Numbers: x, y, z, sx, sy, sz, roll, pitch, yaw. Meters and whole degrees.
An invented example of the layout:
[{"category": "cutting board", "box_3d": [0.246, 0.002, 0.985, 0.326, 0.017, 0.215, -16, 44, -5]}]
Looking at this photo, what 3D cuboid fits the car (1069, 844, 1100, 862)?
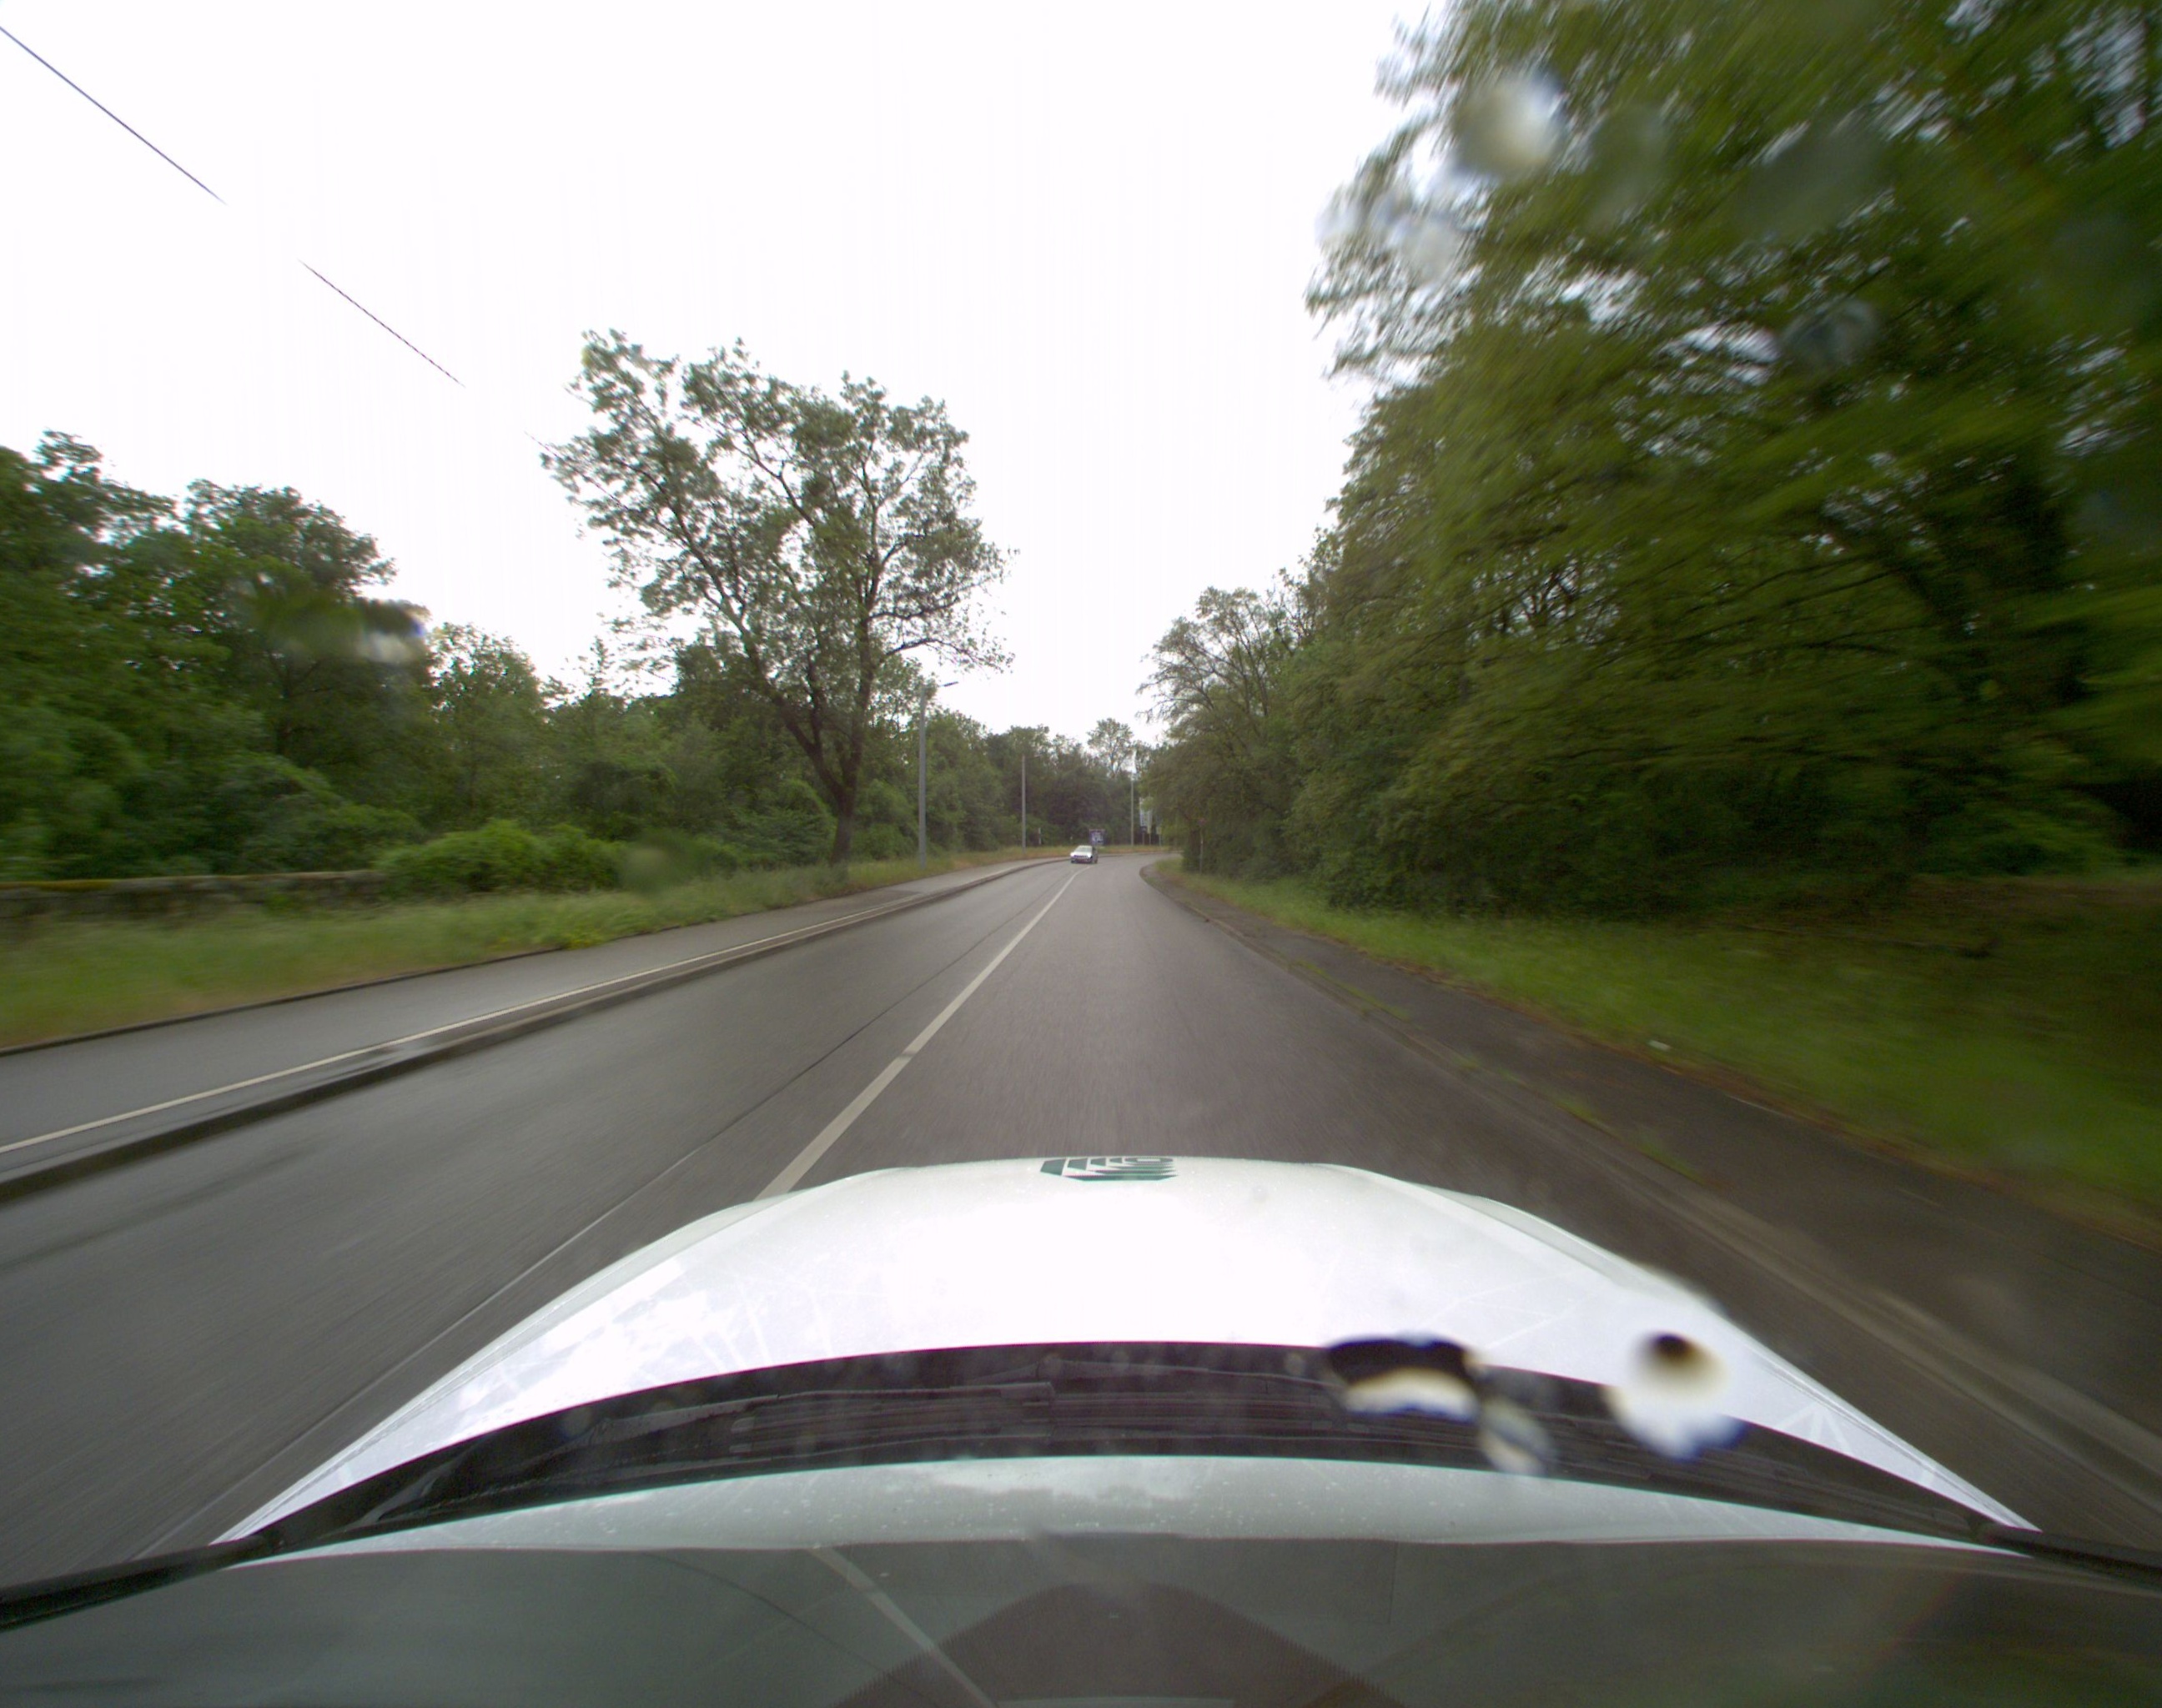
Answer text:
[{"category": "car", "box_3d": [0.337, -0.120, 69.748, 1.768, 1.430, 4.490, 3, 2, 12]}]
